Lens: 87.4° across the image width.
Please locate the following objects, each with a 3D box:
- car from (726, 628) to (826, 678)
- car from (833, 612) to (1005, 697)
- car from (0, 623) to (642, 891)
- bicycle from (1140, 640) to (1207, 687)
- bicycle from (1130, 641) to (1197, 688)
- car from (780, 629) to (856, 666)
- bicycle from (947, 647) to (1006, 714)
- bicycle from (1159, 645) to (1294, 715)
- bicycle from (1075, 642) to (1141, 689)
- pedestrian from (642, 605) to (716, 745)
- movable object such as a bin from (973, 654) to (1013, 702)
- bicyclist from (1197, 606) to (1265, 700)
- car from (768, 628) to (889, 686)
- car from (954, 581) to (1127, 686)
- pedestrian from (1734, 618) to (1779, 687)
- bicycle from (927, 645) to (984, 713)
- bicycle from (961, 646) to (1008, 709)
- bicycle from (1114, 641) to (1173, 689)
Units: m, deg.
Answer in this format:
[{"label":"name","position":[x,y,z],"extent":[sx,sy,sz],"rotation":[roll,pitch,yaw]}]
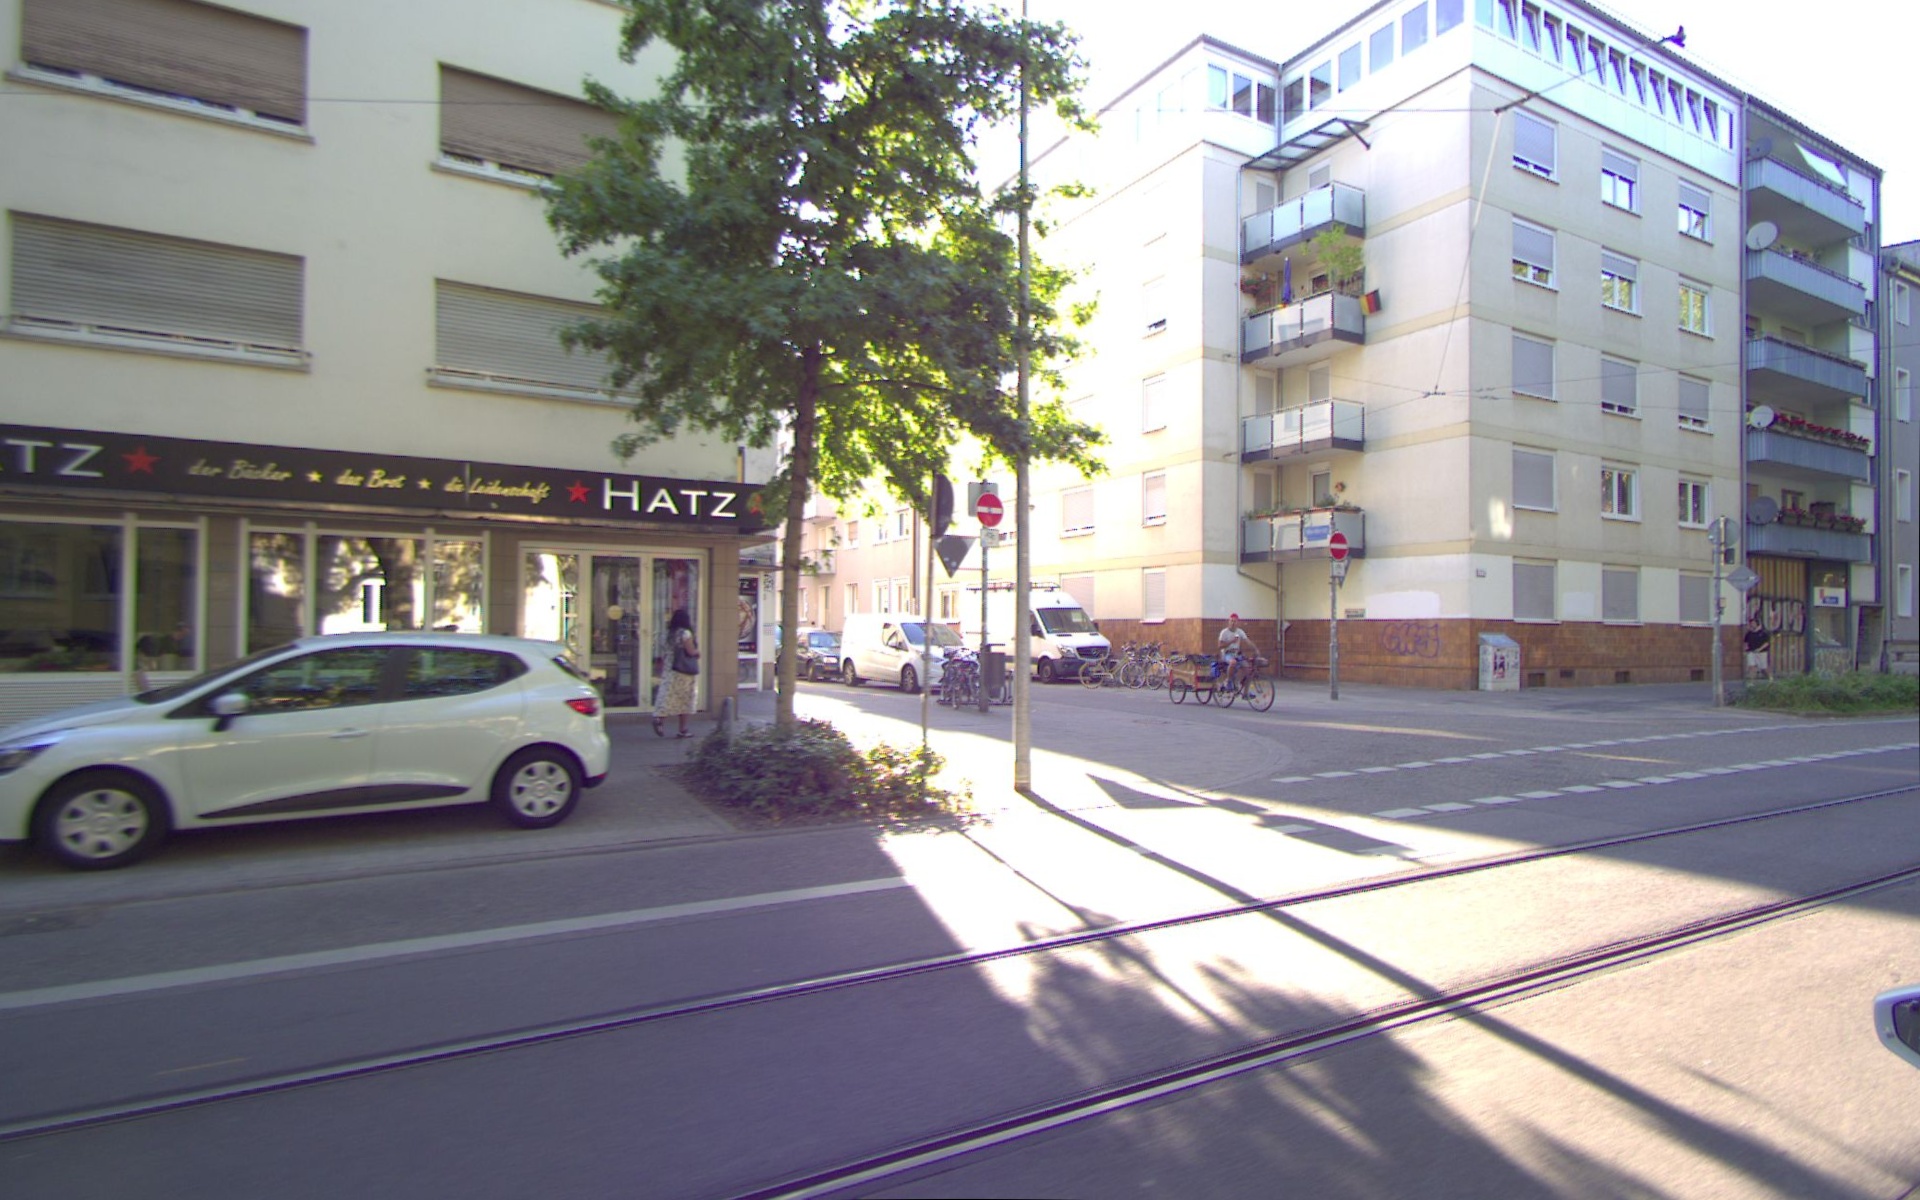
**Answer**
[{"label":"car","position":[-6.019,1.664,32.531],"extent":[2.006,1.519,3.927],"rotation":[1,-2,-30]},{"label":"car","position":[-1.123,1.267,24.372],"extent":[2.017,1.846,4.847],"rotation":[1,-2,-33]},{"label":"car","position":[-4.806,0.989,7.493],"extent":[4.331,1.483,1.703],"rotation":[2,1,-34]},{"label":"bicycle","position":[5.505,1.645,26.007],"extent":[0.579,1.171,1.736],"rotation":[2,-4,-37]},{"label":"bicycle","position":[5.207,1.657,25.812],"extent":[0.579,1.171,1.736],"rotation":[2,-4,-37]},{"label":"car","position":[-6.282,2.050,44.116],"extent":[2.006,1.519,3.927],"rotation":[1,-2,-30]},{"label":"bicycle","position":[0.278,1.471,18.607],"extent":[0.562,1.171,1.946],"rotation":[0,-3,-15]},{"label":"bicycle","position":[5.012,1.478,19.144],"extent":[0.909,1.172,2.786],"rotation":[1,-2,-26]},{"label":"bicycle","position":[3.742,1.664,25.401],"extent":[1.571,1.171,0.585],"rotation":[-1,-3,16]},{"label":"pedestrian","position":[-3.570,0.934,12.758],"extent":[0.740,1.713,0.660],"rotation":[1,-2,-31]},{"label":"movable object such as a bin","position":[0.701,1.668,21.571],"extent":[0.636,0.986,0.588],"rotation":[2,-2,-40]},{"label":"bicyclist","position":[5.113,0.982,18.958],"extent":[0.896,1.726,0.869],"rotation":[1,-1,-26]},{"label":"car","position":[-3.773,1.550,28.260],"extent":[2.006,1.519,3.927],"rotation":[1,-2,-30]},{"label":"car","position":[2.205,0.976,29.533],"extent":[2.145,2.759,5.780],"rotation":[1,-2,-30]},{"label":"pedestrian","position":[21.833,1.418,27.532],"extent":[0.954,1.850,0.660],"rotation":[1,-2,-31]},{"label":"bicycle","position":[-0.113,1.435,18.492],"extent":[0.562,1.171,1.946],"rotation":[0,-3,-15]},{"label":"bicycle","position":[0.458,1.507,19.736],"extent":[0.562,1.171,1.948],"rotation":[0,-3,-9]},{"label":"bicycle","position":[4.638,1.651,25.536],"extent":[0.576,1.171,1.744],"rotation":[1,-4,-24]}]
